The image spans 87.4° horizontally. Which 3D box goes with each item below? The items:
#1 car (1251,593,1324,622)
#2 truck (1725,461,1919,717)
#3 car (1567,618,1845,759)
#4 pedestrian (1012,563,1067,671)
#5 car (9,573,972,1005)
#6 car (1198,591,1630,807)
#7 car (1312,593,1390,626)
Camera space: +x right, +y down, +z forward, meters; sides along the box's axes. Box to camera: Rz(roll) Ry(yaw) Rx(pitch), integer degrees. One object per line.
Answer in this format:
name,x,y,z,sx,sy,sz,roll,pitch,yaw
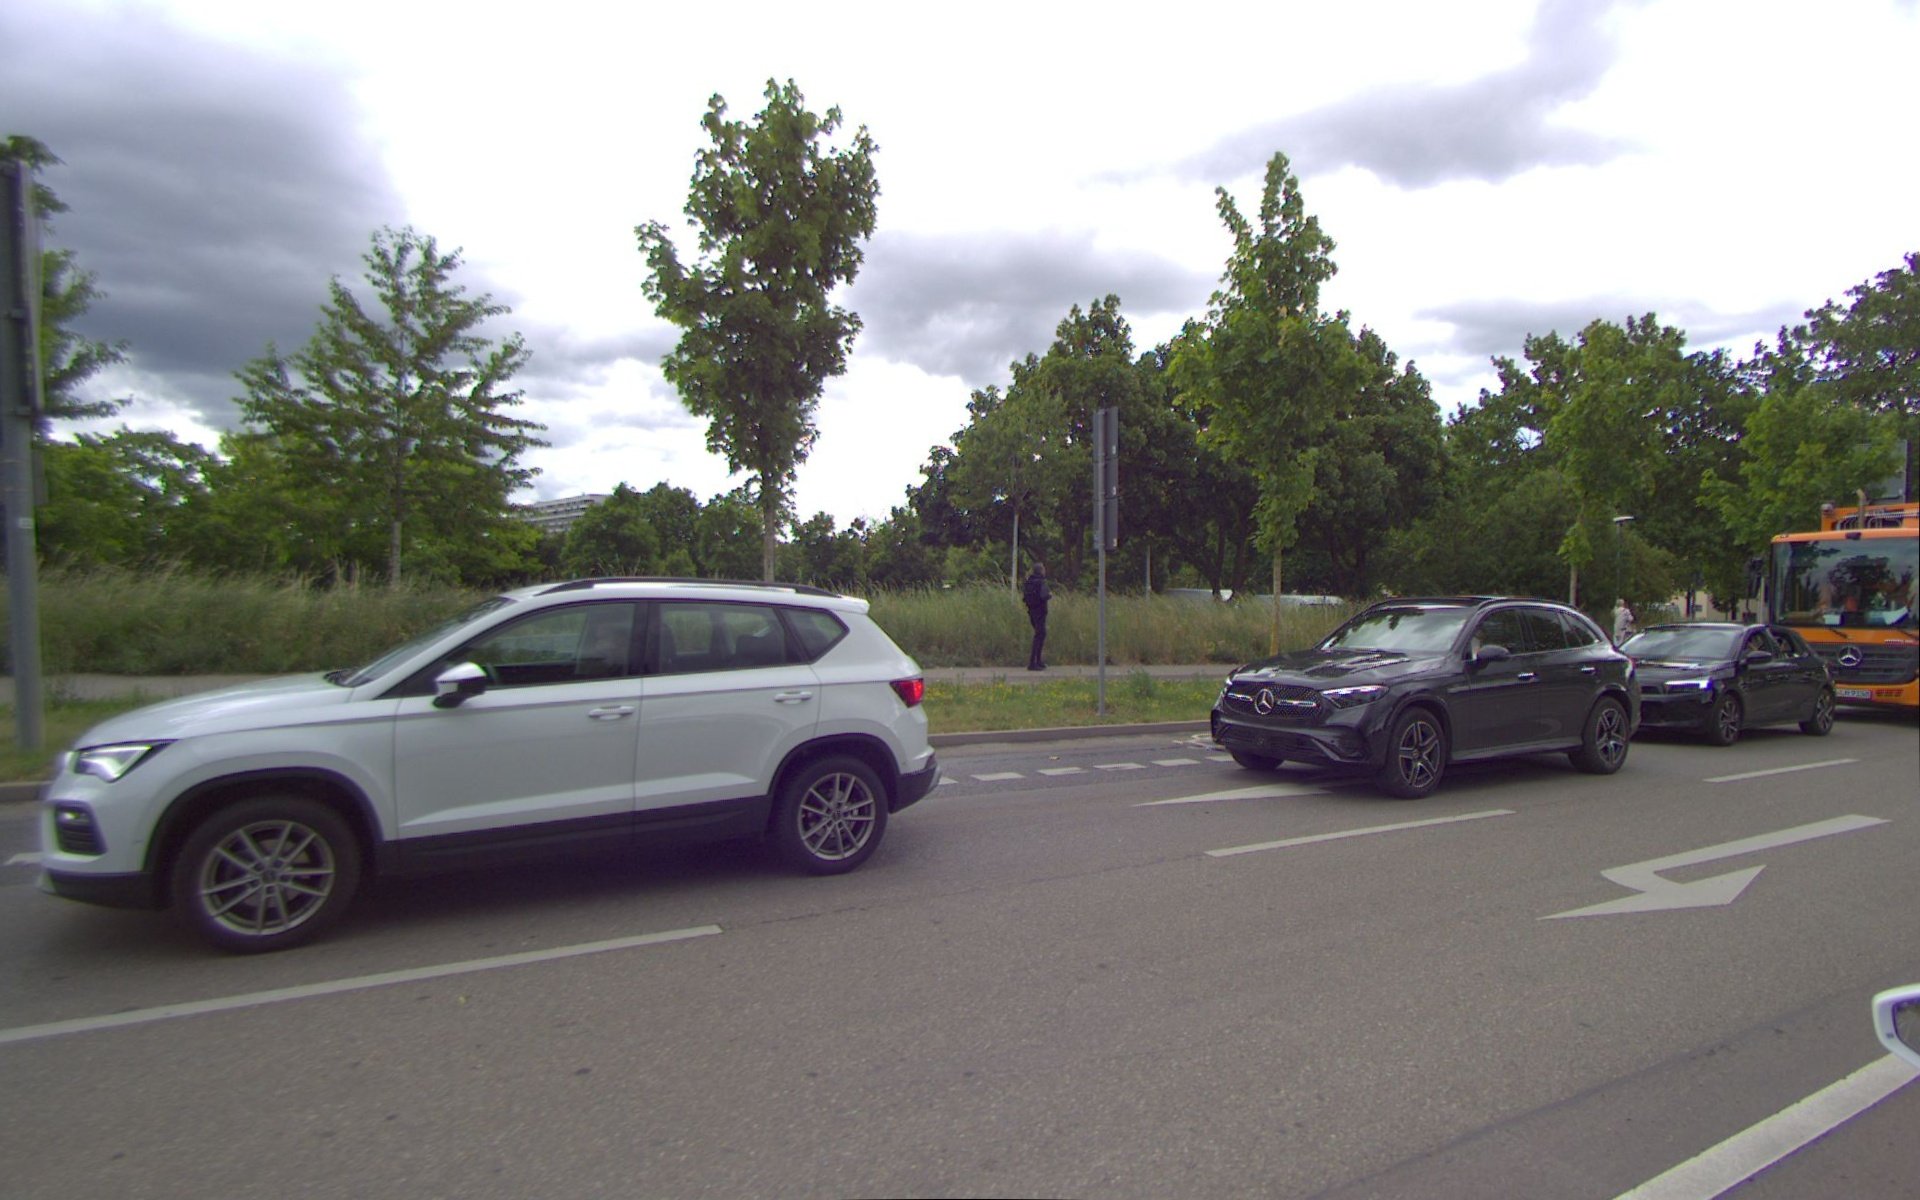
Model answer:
car,23.702,0.518,72.846,1.978,2.040,4.939,1,0,-32
truck,17.036,-0.154,17.151,9.876,3.534,2.693,0,1,-30
car,9.464,1.006,12.676,3.849,1.477,1.426,0,1,-31
pedestrian,1.413,0.293,17.910,0.669,1.860,0.717,0,1,-30
car,-2.156,0.693,5.542,4.174,1.607,1.721,0,1,-31
car,4.269,0.746,9.300,4.013,1.607,1.631,0,1,-31
car,27.736,0.658,71.441,1.979,2.220,4.936,1,0,-34
